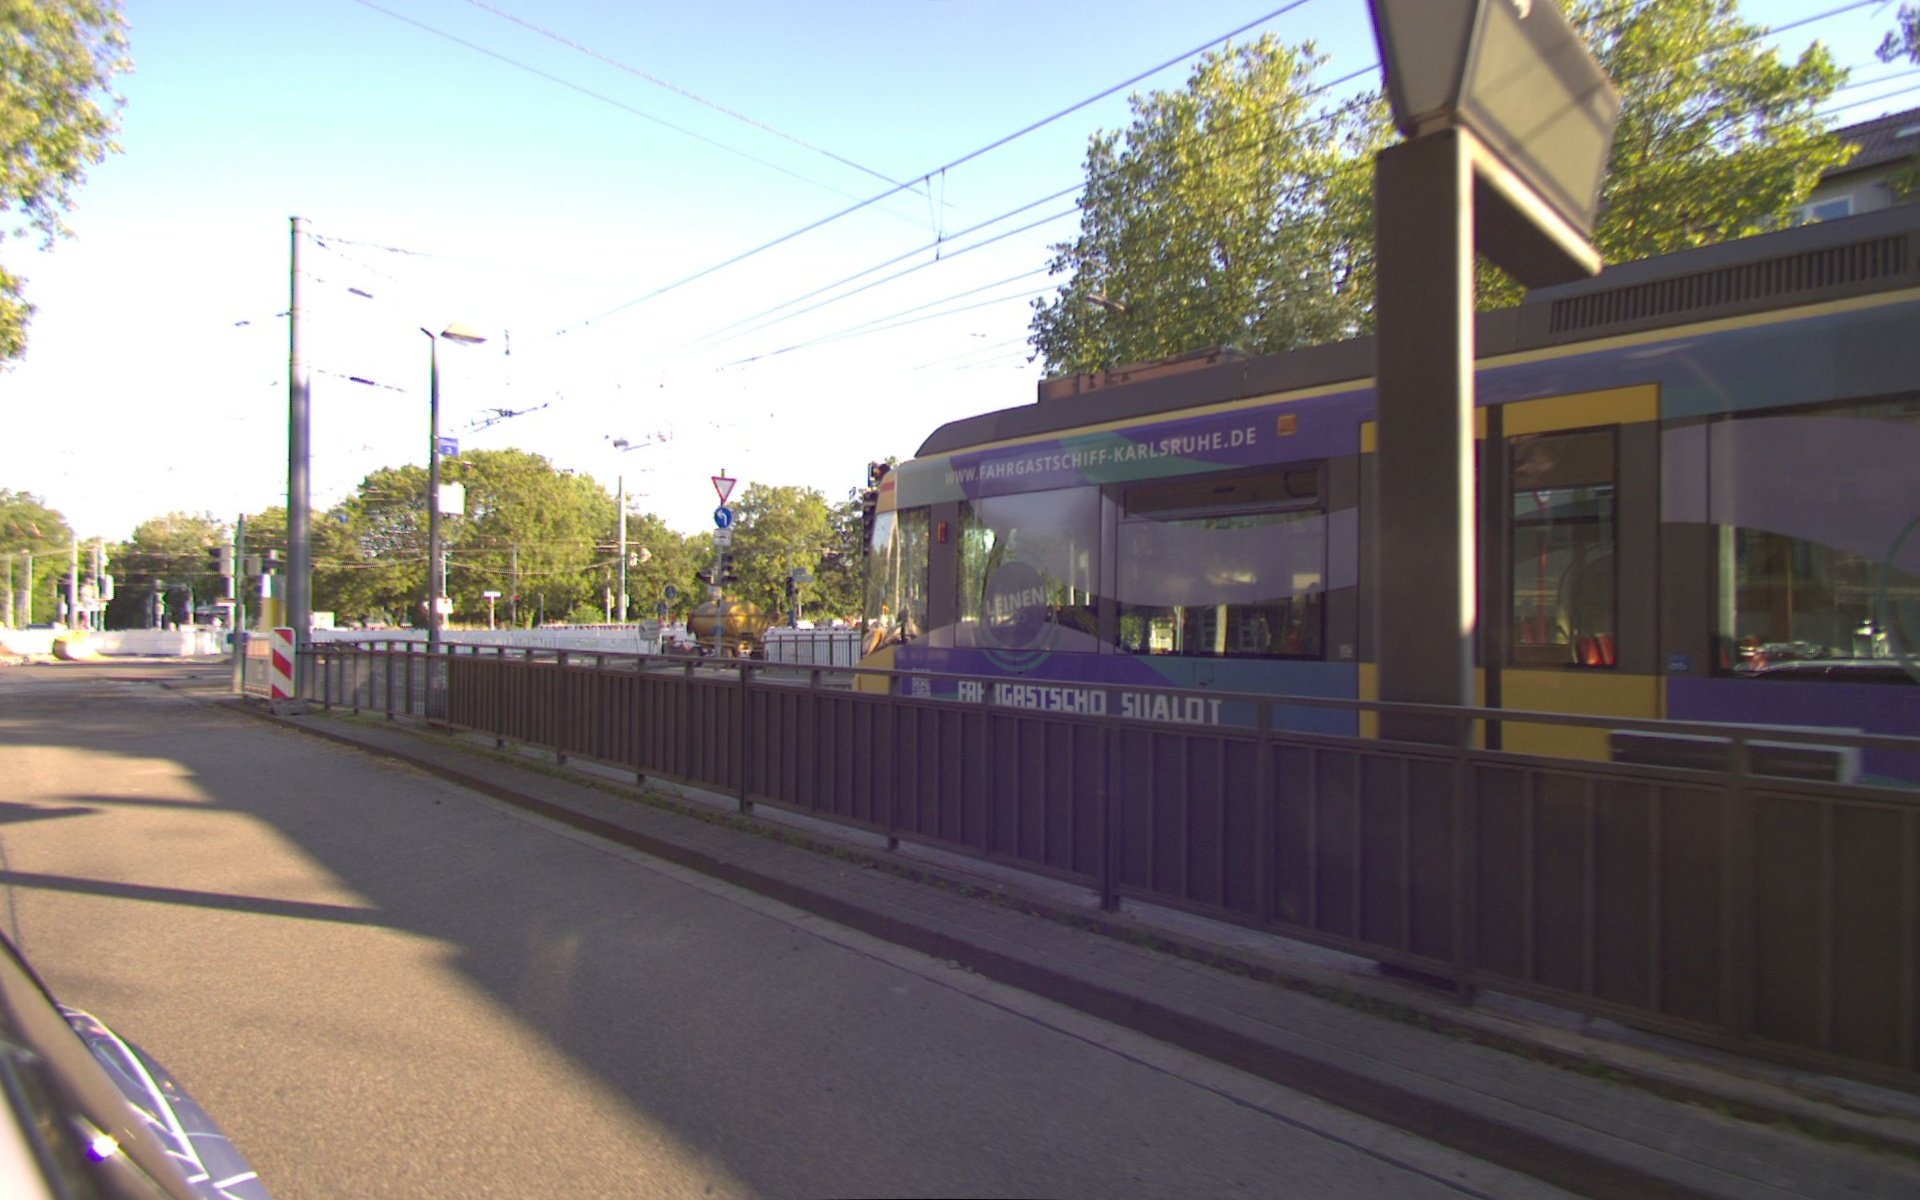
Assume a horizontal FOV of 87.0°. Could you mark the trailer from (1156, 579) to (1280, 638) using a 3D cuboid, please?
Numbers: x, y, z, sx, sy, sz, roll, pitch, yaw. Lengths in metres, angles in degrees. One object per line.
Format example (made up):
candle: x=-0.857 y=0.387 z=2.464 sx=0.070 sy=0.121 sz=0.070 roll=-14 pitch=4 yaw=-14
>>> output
trailer: x=17.687 y=0.634 z=69.019 sx=9.093 sy=3.826 sz=2.903 roll=1 pitch=-2 yaw=-35

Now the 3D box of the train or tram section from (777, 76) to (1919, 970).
train or tram section: x=3.810 y=-0.274 z=6.093 sx=2.816 sy=3.560 sz=13.408 roll=1 pitch=-2 yaw=-43

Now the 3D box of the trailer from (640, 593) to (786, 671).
trailer: x=-7.326 y=0.907 z=29.820 sx=4.342 sy=2.131 sz=1.974 roll=0 pitch=-1 yaw=39
